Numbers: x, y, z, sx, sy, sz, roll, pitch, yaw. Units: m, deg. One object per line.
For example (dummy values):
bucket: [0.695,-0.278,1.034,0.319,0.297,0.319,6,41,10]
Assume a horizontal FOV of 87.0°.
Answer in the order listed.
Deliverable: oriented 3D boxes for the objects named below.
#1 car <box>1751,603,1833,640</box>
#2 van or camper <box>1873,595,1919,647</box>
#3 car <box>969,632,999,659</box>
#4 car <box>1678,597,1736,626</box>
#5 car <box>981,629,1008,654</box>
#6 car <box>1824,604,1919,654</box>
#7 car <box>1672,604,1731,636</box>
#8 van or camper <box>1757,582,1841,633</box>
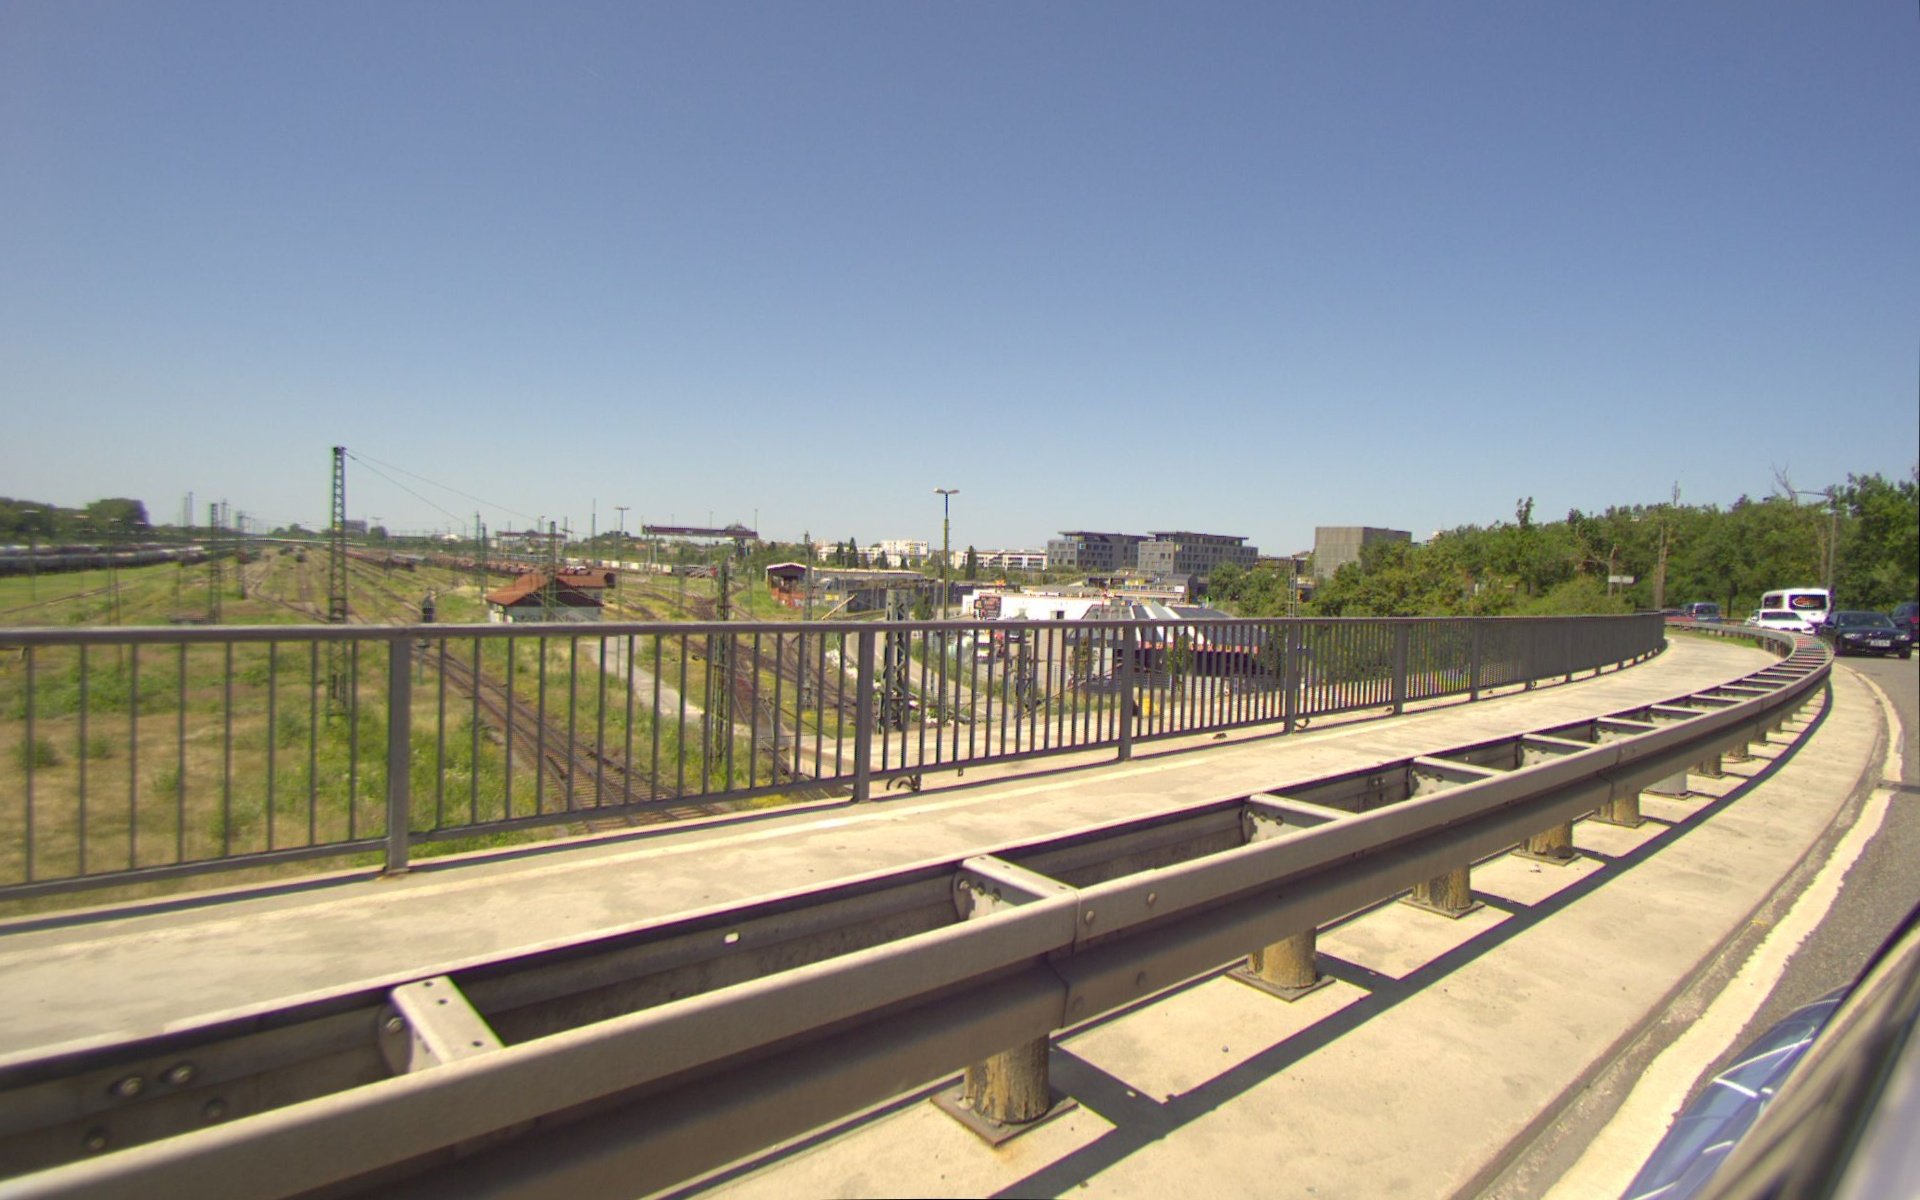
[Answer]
car: [34.388,0.839,41.950,1.800,1.446,3.681,0,0,26]
van or camper: [36.465,0.768,38.023,1.981,1.782,4.655,1,2,27]
car: [2.403,4.443,99.200,2.118,2.382,4.914,-4,-1,10]
car: [50.088,0.748,67.989,1.738,1.878,4.253,0,0,16]
car: [3.595,4.343,106.042,2.117,2.382,4.915,-4,-1,9]
car: [28.364,0.837,31.493,1.558,1.434,4.077,0,0,31]
car: [44.360,1.166,60.625,1.881,1.675,4.225,1,2,23]
van or camper: [44.591,0.368,53.959,2.033,2.570,5.832,0,0,25]
